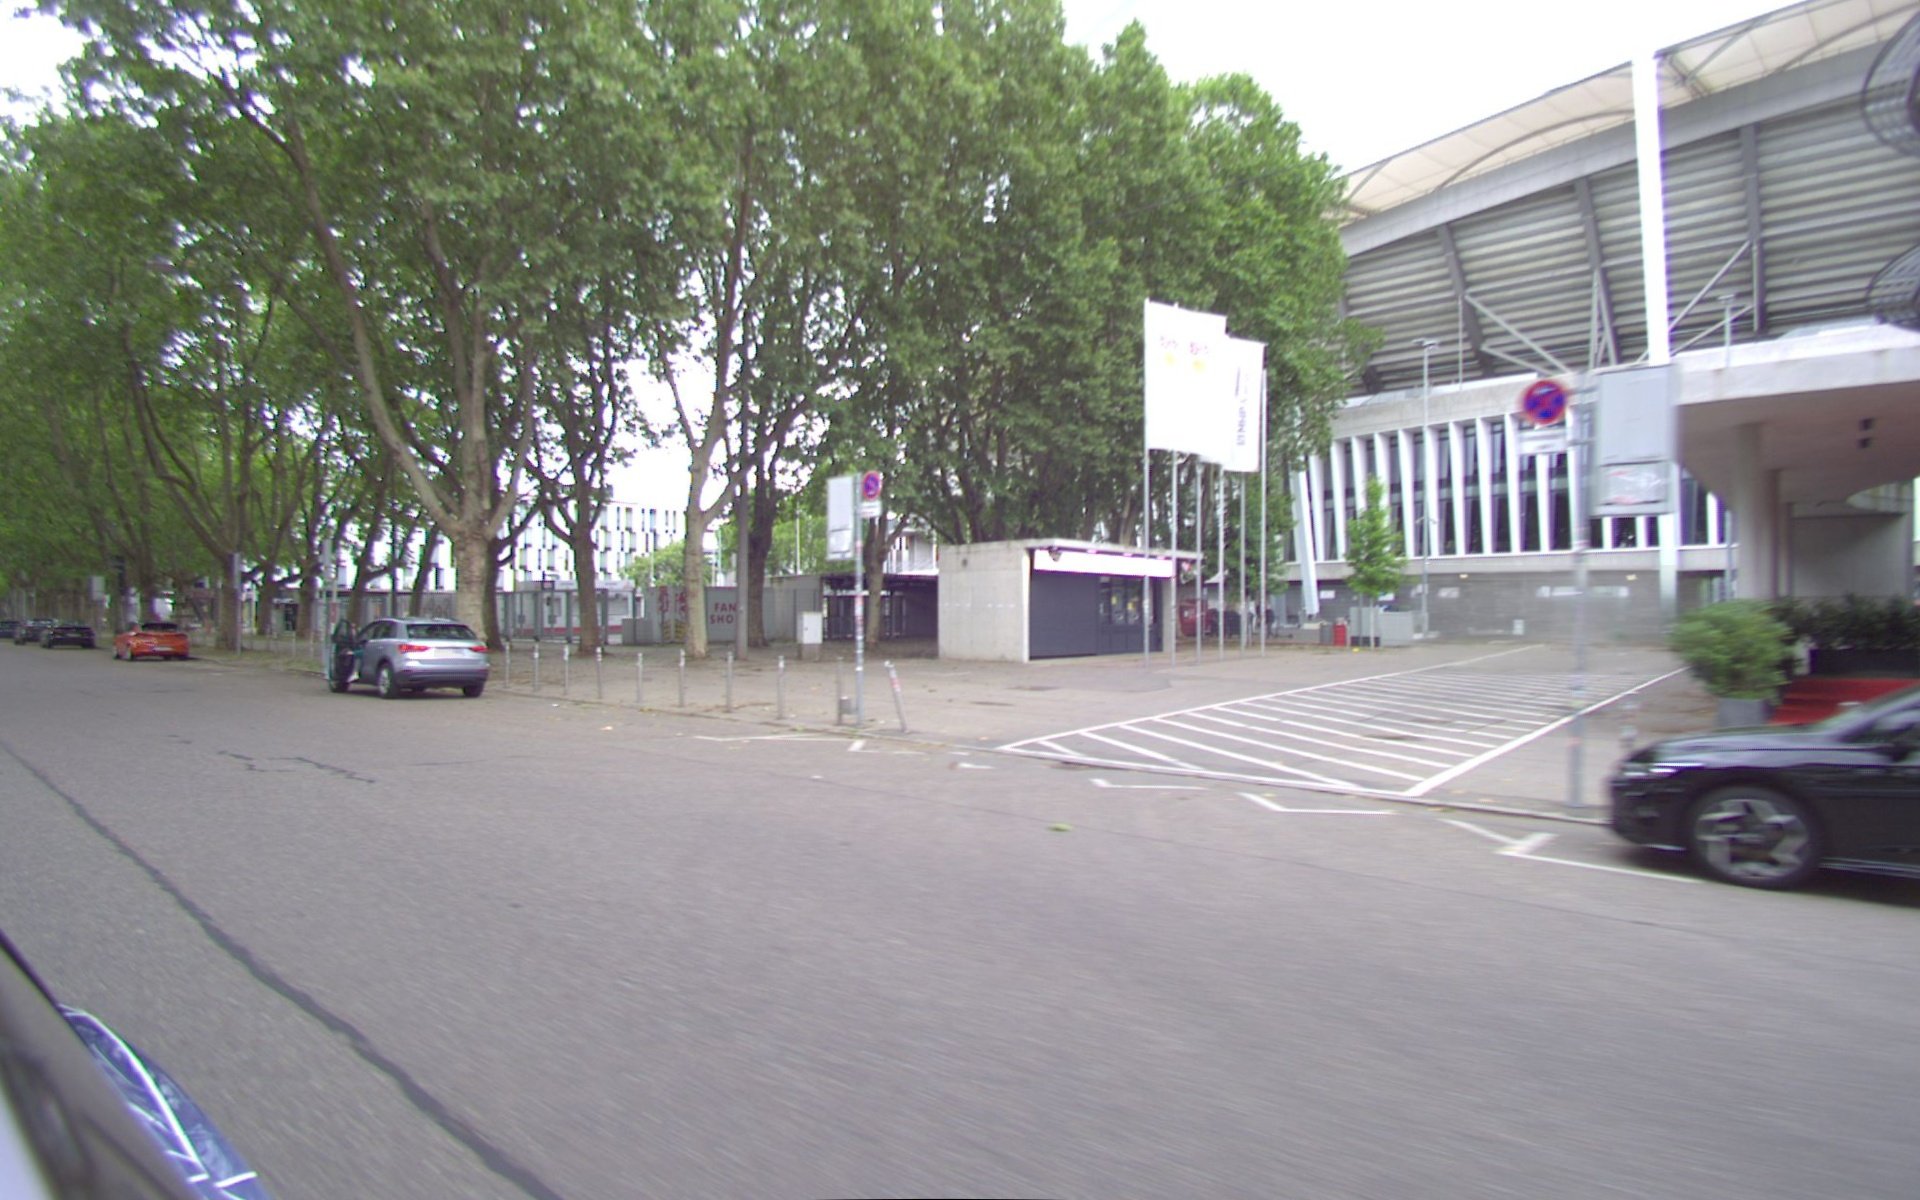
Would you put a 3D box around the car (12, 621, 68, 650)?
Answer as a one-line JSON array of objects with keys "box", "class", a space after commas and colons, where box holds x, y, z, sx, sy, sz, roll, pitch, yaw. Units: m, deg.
[{"box": [-50.961, 1.934, 56.016, 4.150, 1.538, 1.858, -1, -3, 42], "class": "car"}]

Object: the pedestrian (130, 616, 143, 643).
[{"box": [-53.309, 1.908, 65.547, 0.569, 1.783, 0.769, 1, -2, -34], "class": "pedestrian"}]

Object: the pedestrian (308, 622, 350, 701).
[{"box": [-12.253, 1.182, 19.643, 0.567, 1.477, 0.577, -1, -1, 45], "class": "pedestrian"}]

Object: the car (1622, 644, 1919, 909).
[{"box": [6.410, 1.008, 5.667, 4.323, 1.430, 1.686, -1, -4, 42], "class": "car"}]

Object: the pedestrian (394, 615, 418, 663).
[{"box": [-18.903, 1.322, 34.521, 0.585, 1.632, 0.793, 1, -1, -39], "class": "pedestrian"}]

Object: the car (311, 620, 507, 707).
[{"box": [-11.339, 1.201, 20.676, 4.755, 1.575, 2.051, -1, -2, 42], "class": "car"}]

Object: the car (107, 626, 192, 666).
[{"box": [-29.310, 1.624, 36.564, 3.999, 1.364, 1.789, -1, -2, 42], "class": "car"}]

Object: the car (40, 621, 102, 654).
[{"box": [-42.599, 1.785, 48.471, 4.628, 1.477, 1.806, -1, -3, 44], "class": "car"}]

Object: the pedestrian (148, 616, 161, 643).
[{"box": [-52.548, 1.910, 66.025, 0.567, 1.755, 0.769, 1, -2, -34], "class": "pedestrian"}]

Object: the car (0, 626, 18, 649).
[{"box": [-64.640, 2.501, 67.898, 4.573, 1.497, 1.706, -1, -2, 42], "class": "car"}]
